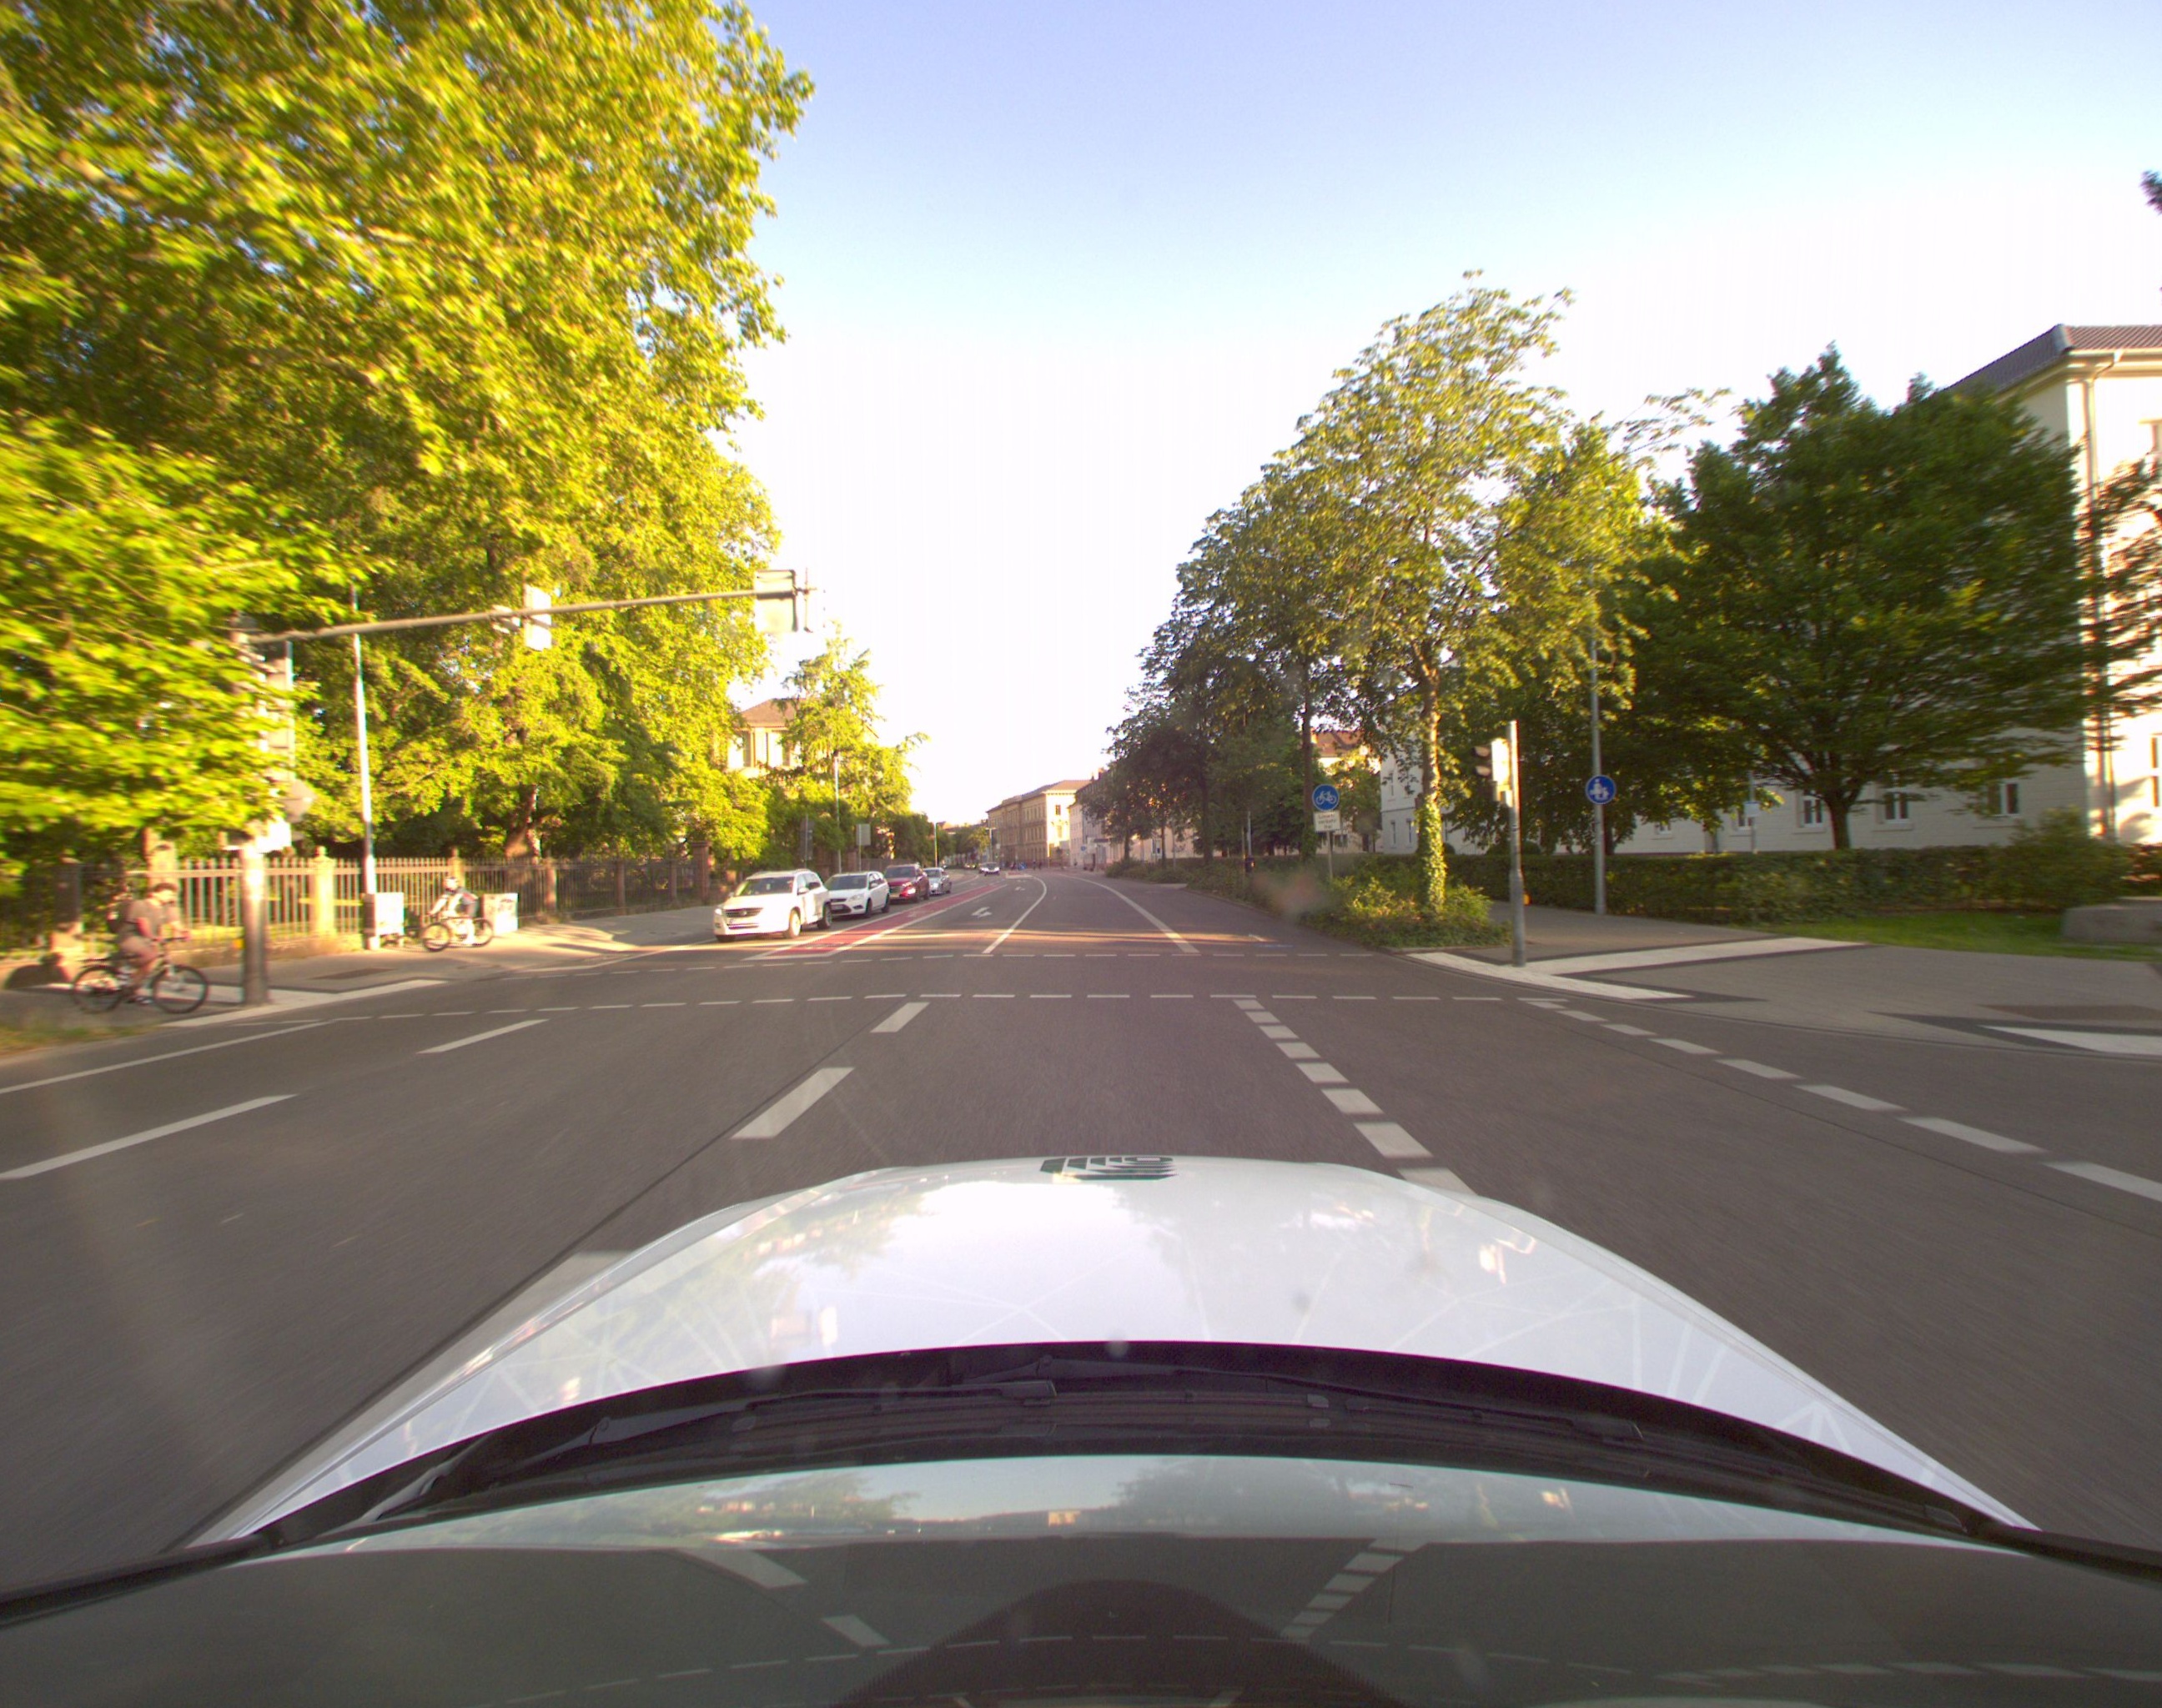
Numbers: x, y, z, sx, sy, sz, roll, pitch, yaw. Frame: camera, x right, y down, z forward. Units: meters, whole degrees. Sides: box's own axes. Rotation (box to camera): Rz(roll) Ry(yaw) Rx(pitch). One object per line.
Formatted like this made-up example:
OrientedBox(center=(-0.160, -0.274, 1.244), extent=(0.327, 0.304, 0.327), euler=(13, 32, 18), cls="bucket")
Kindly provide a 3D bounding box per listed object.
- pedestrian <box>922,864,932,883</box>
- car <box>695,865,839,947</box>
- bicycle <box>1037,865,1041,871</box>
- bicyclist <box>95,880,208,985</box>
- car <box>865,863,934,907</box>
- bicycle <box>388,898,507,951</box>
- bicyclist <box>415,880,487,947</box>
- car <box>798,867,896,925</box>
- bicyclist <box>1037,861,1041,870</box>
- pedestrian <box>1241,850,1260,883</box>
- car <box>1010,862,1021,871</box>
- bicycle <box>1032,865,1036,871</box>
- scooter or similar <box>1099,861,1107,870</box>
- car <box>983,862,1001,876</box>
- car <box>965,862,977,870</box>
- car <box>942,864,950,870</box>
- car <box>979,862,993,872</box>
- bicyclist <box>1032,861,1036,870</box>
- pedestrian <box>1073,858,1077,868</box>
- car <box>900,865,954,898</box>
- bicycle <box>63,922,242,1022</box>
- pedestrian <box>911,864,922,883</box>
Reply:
OrientedBox(center=(-13.336, 1.686, 70.401), extent=(0.678, 1.622, 0.689), euler=(-2, -1, 3), cls="pedestrian")
OrientedBox(center=(-7.779, 1.215, 20.674), extent=(1.911, 1.695, 4.424), euler=(-4, 0, -1), cls="car")
OrientedBox(center=(-6.954, 2.313, 135.307), extent=(0.650, 1.015, 2.196), euler=(0, -1, -2), cls="bicycle")
OrientedBox(center=(-12.910, 1.069, 11.331), extent=(0.836, 1.361, 0.571), euler=(-2, -1, -9), cls="bicyclist")
OrientedBox(center=(-7.763, 1.281, 35.267), extent=(1.911, 1.624, 4.636), euler=(-4, 0, -1), cls="car")
OrientedBox(center=(-14.174, 1.548, 18.329), extent=(0.851, 1.015, 2.199), euler=(1, 0, 3), cls="bicycle")
OrientedBox(center=(-14.185, 1.317, 18.366), extent=(0.852, 1.431, 0.944), euler=(1, 0, 3), cls="bicyclist")
OrientedBox(center=(-7.636, 1.300, 27.046), extent=(1.911, 1.583, 4.671), euler=(-4, 0, -1), cls="car")
OrientedBox(center=(-6.953, 1.871, 135.320), extent=(0.650, 1.475, 0.940), euler=(0, -1, -2), cls="bicyclist")
OrientedBox(center=(9.211, 0.678, 44.338), extent=(0.769, 1.739, 0.805), euler=(-2, -1, -7), cls="pedestrian")
OrientedBox(center=(-11.714, 2.207, 145.882), extent=(1.864, 1.510, 3.994), euler=(-1, -1, -4), cls="car")
OrientedBox(center=(-7.869, 2.300, 135.610), extent=(0.650, 1.015, 2.196), euler=(0, -1, -2), cls="bicycle")
OrientedBox(center=(3.164, 1.622, 115.353), extent=(0.630, 1.337, 2.391), euler=(-1, -1, -11), cls="scooter or similar")
OrientedBox(center=(-10.643, 1.761, 97.263), extent=(1.848, 1.526, 3.986), euler=(-3, 0, -10), cls="car")
OrientedBox(center=(-24.669, 2.678, 182.132), extent=(1.999, 1.585, 3.975), euler=(-1, -1, -18), cls="car")
OrientedBox(center=(-39.886, 3.799, 240.807), extent=(1.996, 1.585, 3.981), euler=(-1, -1, -13), cls="car")
OrientedBox(center=(-14.725, 2.050, 125.897), extent=(1.835, 1.439, 3.988), euler=(-4, 0, -9), cls="car")
OrientedBox(center=(-7.859, 1.953, 135.583), extent=(0.650, 1.446, 0.878), euler=(1, -1, -3), cls="bicyclist")
OrientedBox(center=(-1.025, 1.595, 141.272), extent=(0.759, 1.755, 0.844), euler=(-2, -1, 0), cls="pedestrian")
OrientedBox(center=(-7.914, 1.383, 42.191), extent=(1.911, 1.418, 4.767), euler=(-4, 0, -1), cls="car")
OrientedBox(center=(-12.854, 1.616, 11.308), extent=(1.626, 1.229, 0.571), euler=(-2, -1, -9), cls="bicycle")
OrientedBox(center=(-14.241, 1.669, 70.570), extent=(0.678, 1.622, 0.689), euler=(-2, -1, 2), cls="pedestrian")
